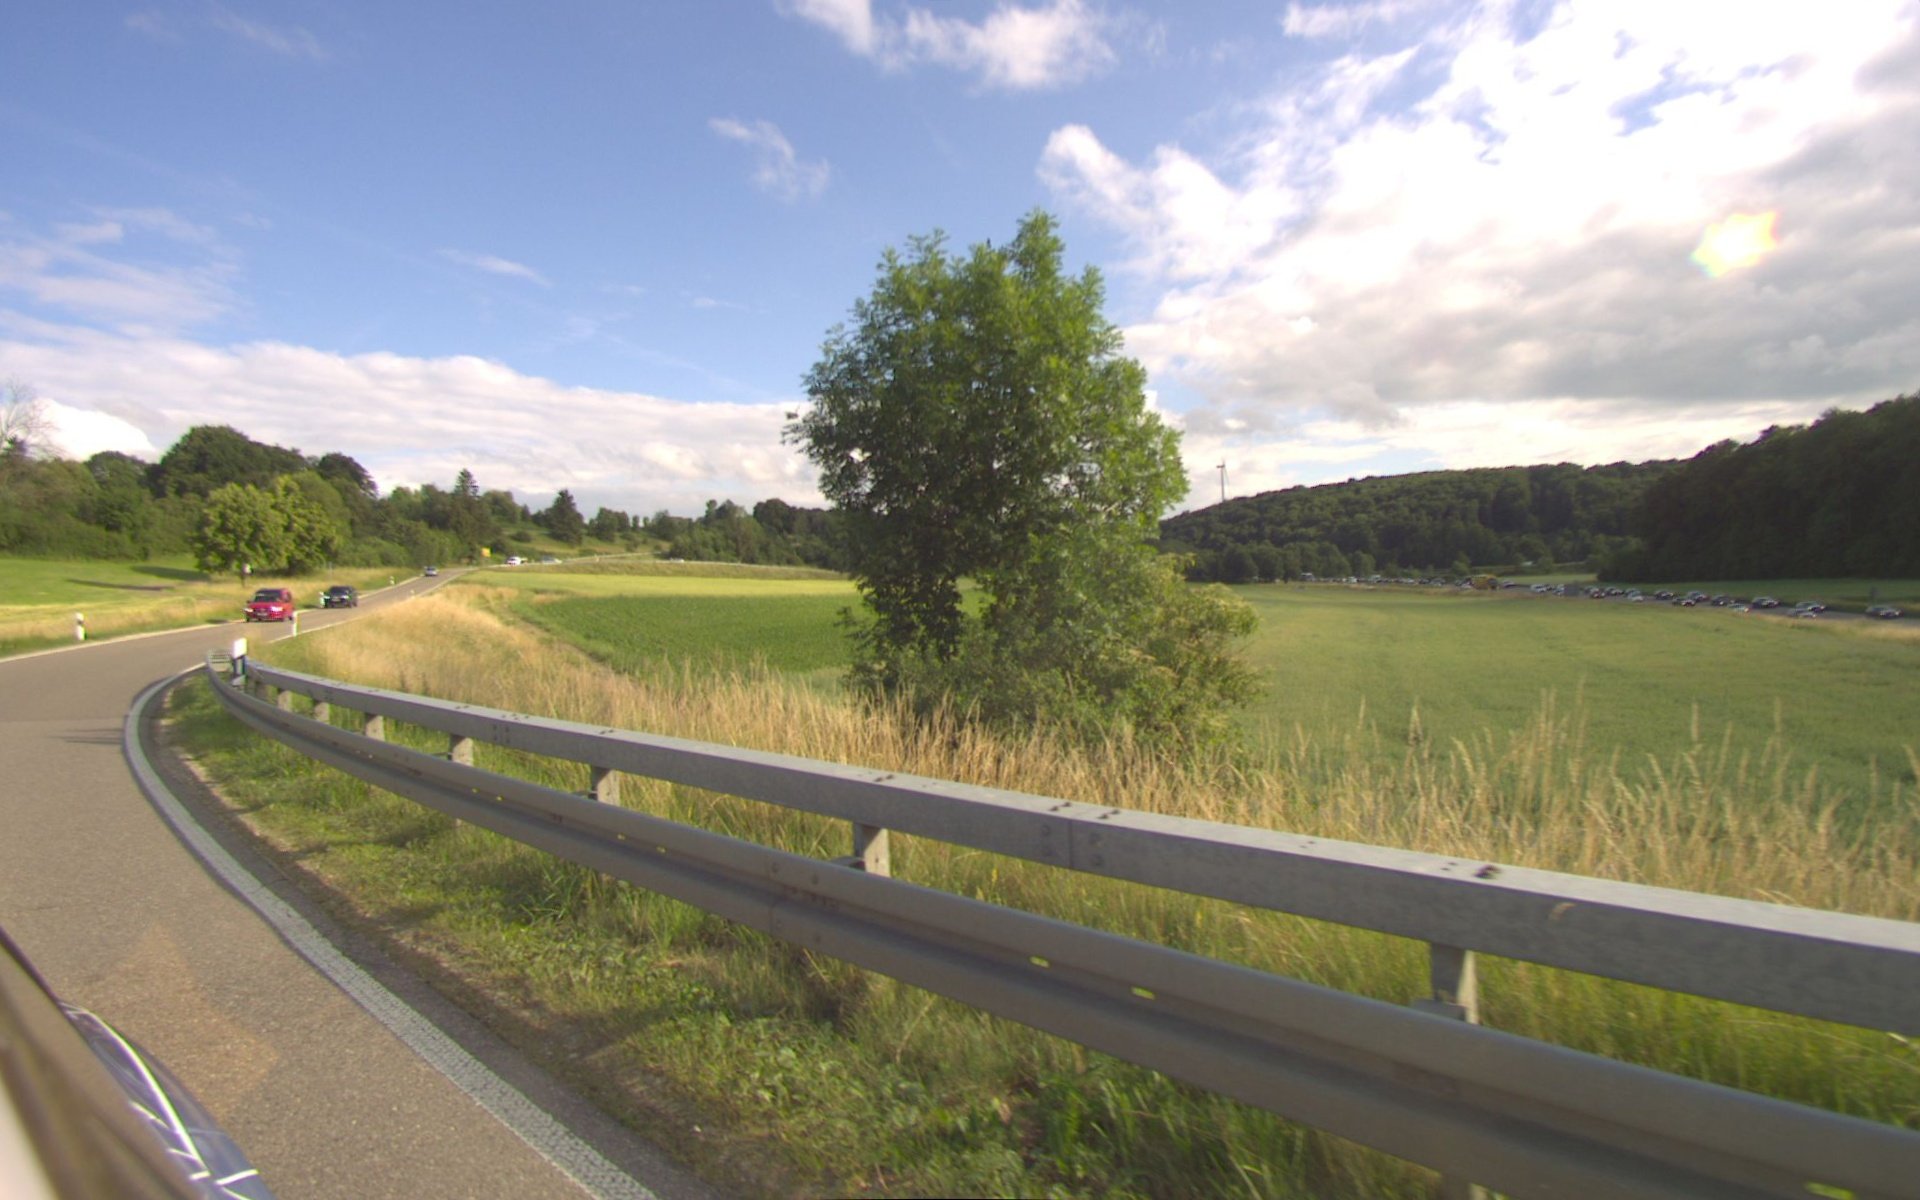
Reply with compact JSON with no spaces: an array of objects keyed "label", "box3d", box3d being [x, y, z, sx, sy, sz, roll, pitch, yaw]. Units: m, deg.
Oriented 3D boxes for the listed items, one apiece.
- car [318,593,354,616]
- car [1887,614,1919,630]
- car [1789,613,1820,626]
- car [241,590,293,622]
[{"label":"car","box3d":[-47.562,0.324,77.199,1.790,1.623,4.013,0,0,-24]},{"label":"car","box3d":[105.708,2.449,113.112,1.791,1.599,3.969,-1,2,23]},{"label":"car","box3d":[101.918,2.344,122.135,1.817,1.453,3.968,-2,1,24]},{"label":"car","box3d":[-38.452,0.302,56.202,1.791,1.667,4.013,-1,0,-26]}]
